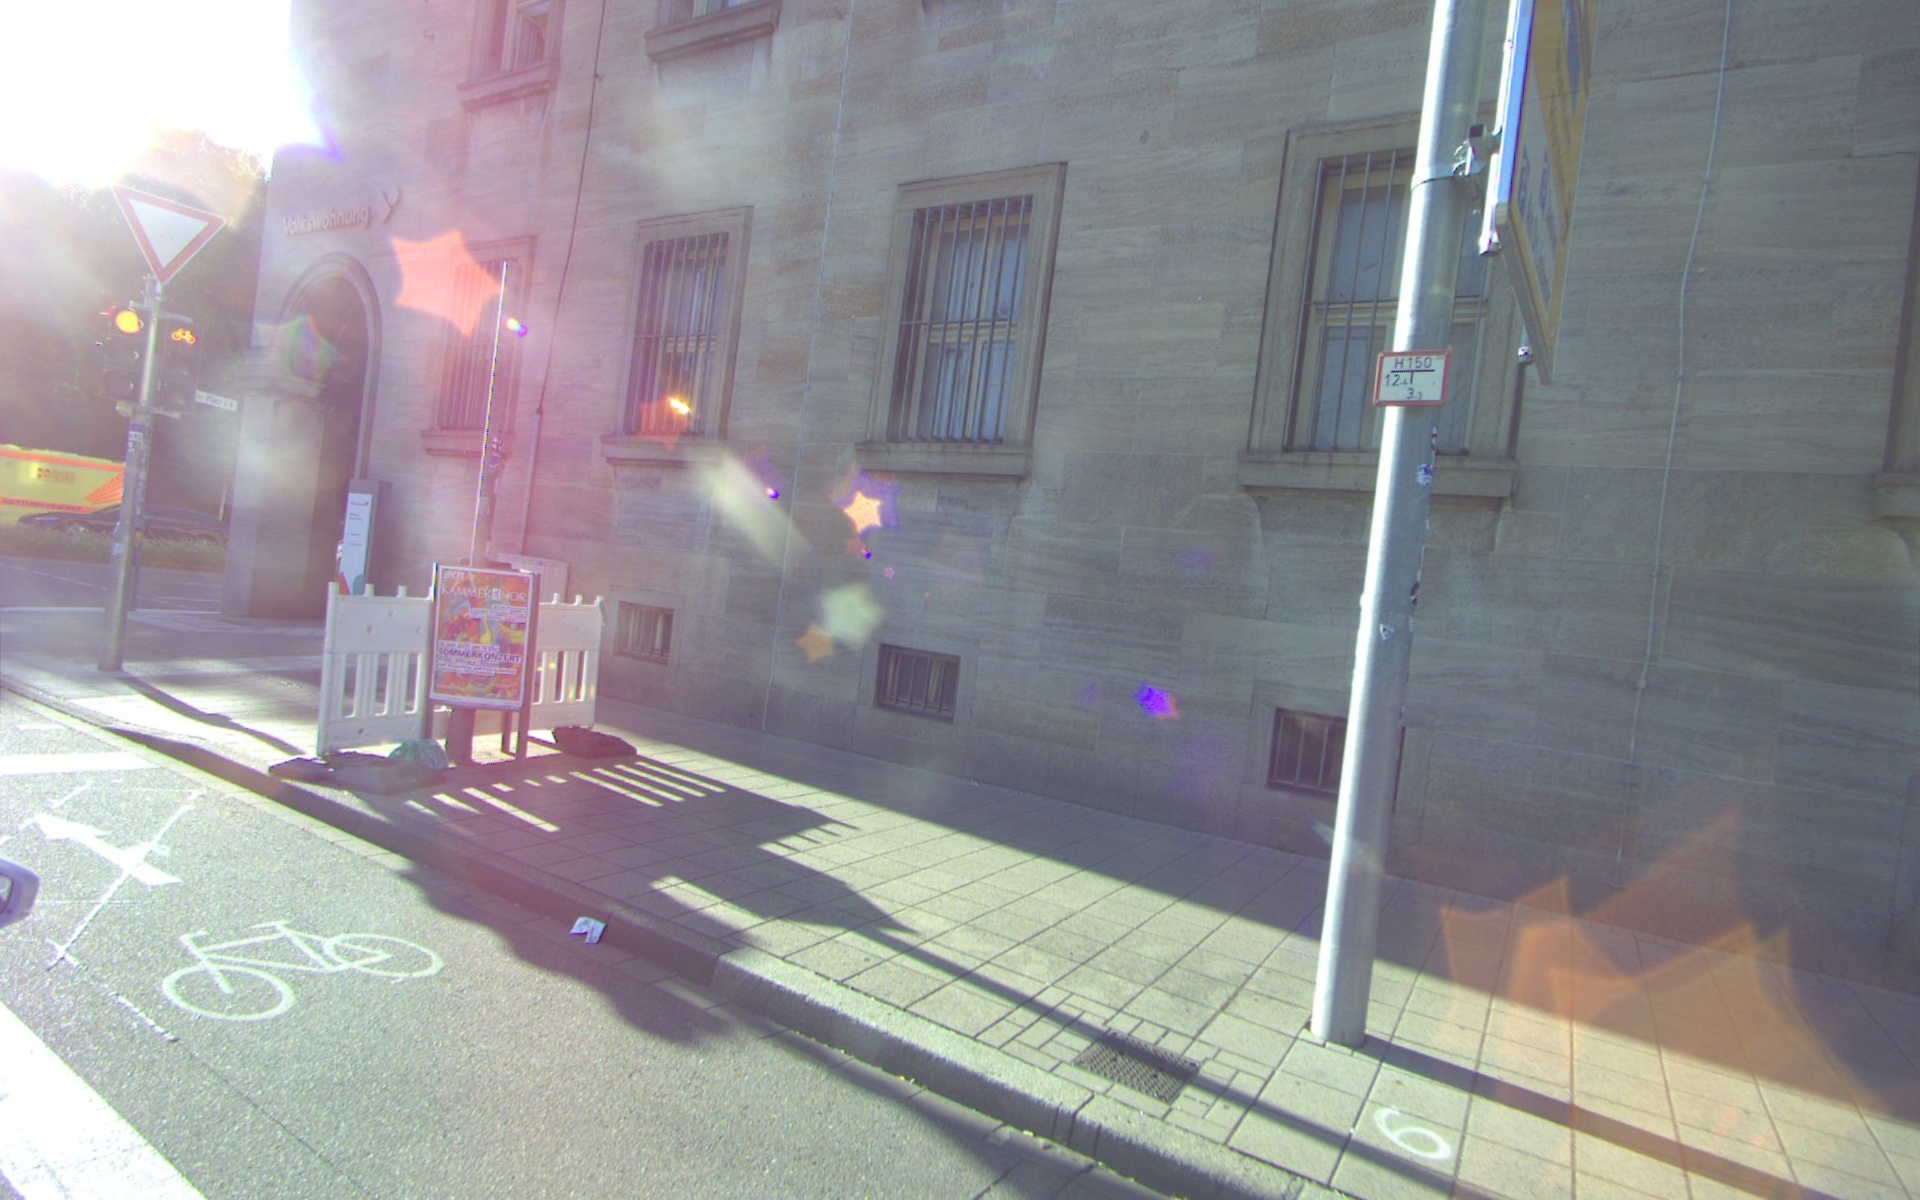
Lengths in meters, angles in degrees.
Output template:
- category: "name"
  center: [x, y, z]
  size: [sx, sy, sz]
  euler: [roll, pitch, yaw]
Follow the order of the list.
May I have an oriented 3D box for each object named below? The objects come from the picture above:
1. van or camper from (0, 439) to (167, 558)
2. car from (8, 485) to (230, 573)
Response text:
- category: "van or camper"
  center: [-28.732, -3.274, 30.432]
  size: [2.866, 2.893, 6.715]
  euler: [6, -3, 36]
- category: "car"
  center: [-23.538, -1.935, 28.342]
  size: [1.857, 1.665, 4.323]
  euler: [6, -3, 32]
